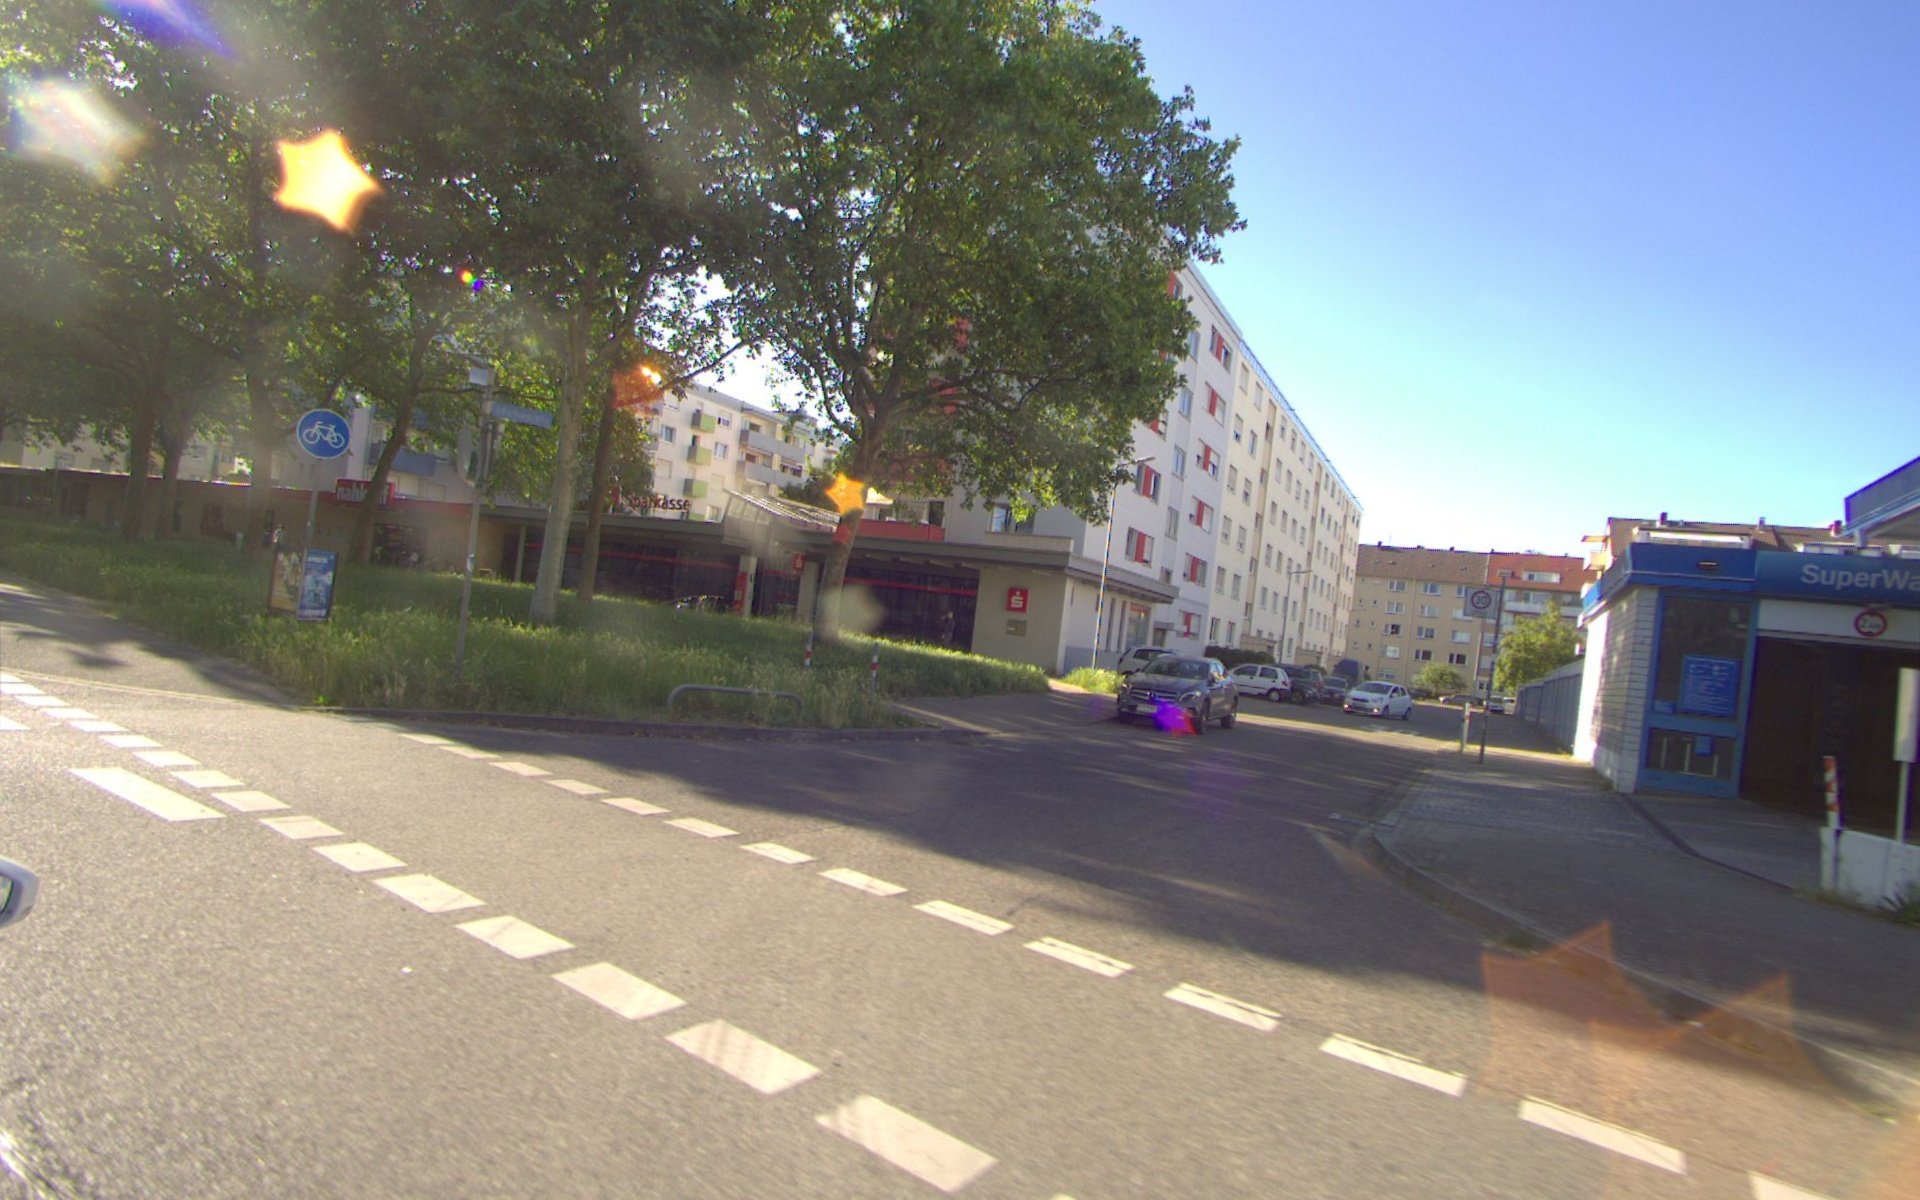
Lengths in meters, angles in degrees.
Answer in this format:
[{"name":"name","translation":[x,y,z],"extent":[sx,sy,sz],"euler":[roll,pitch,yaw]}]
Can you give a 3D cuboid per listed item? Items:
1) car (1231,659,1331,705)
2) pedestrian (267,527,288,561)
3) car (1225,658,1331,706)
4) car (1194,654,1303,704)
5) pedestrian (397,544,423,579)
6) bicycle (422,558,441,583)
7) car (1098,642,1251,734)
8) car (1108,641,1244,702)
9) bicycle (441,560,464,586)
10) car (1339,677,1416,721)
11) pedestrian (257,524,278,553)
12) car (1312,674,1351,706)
[{"name":"car","translation":[15.425,3.928,48.349],"extent":[4.134,1.576,1.980],"euler":[7,-1,31]},{"name":"pedestrian","translation":[-37.307,-3.057,55.013],"extent":[0.703,1.721,0.496],"euler":[8,0,26]},{"name":"car","translation":[14.519,3.755,45.915],"extent":[4.134,1.576,1.980],"euler":[7,-1,31]},{"name":"car","translation":[12.768,3.490,44.510],"extent":[4.134,1.576,1.980],"euler":[7,-1,31]},{"name":"pedestrian","translation":[-27.532,-1.913,50.378],"extent":[0.703,1.604,0.672],"euler":[8,0,26]},{"name":"bicycle","translation":[-26.919,-1.512,51.230],"extent":[0.593,1.193,1.836],"euler":[8,-2,-31]},{"name":"car","translation":[4.708,1.903,21.629],"extent":[1.949,1.549,4.200],"euler":[6,-2,29]},{"name":"car","translation":[7.338,2.433,34.210],"extent":[4.044,1.521,1.874],"euler":[6,-1,30]},{"name":"bicycle","translation":[-25.548,-1.350,50.613],"extent":[0.594,1.193,1.832],"euler":[8,-2,-37]},{"name":"car","translation":[17.238,4.086,41.431],"extent":[1.890,1.440,3.538],"euler":[7,-2,39]},{"name":"pedestrian","translation":[-37.472,-3.312,54.417],"extent":[0.703,1.448,0.533],"euler":[8,0,26]},{"name":"car","translation":[19.783,4.758,53.528],"extent":[1.617,1.440,4.000],"euler":[7,-1,23]}]
